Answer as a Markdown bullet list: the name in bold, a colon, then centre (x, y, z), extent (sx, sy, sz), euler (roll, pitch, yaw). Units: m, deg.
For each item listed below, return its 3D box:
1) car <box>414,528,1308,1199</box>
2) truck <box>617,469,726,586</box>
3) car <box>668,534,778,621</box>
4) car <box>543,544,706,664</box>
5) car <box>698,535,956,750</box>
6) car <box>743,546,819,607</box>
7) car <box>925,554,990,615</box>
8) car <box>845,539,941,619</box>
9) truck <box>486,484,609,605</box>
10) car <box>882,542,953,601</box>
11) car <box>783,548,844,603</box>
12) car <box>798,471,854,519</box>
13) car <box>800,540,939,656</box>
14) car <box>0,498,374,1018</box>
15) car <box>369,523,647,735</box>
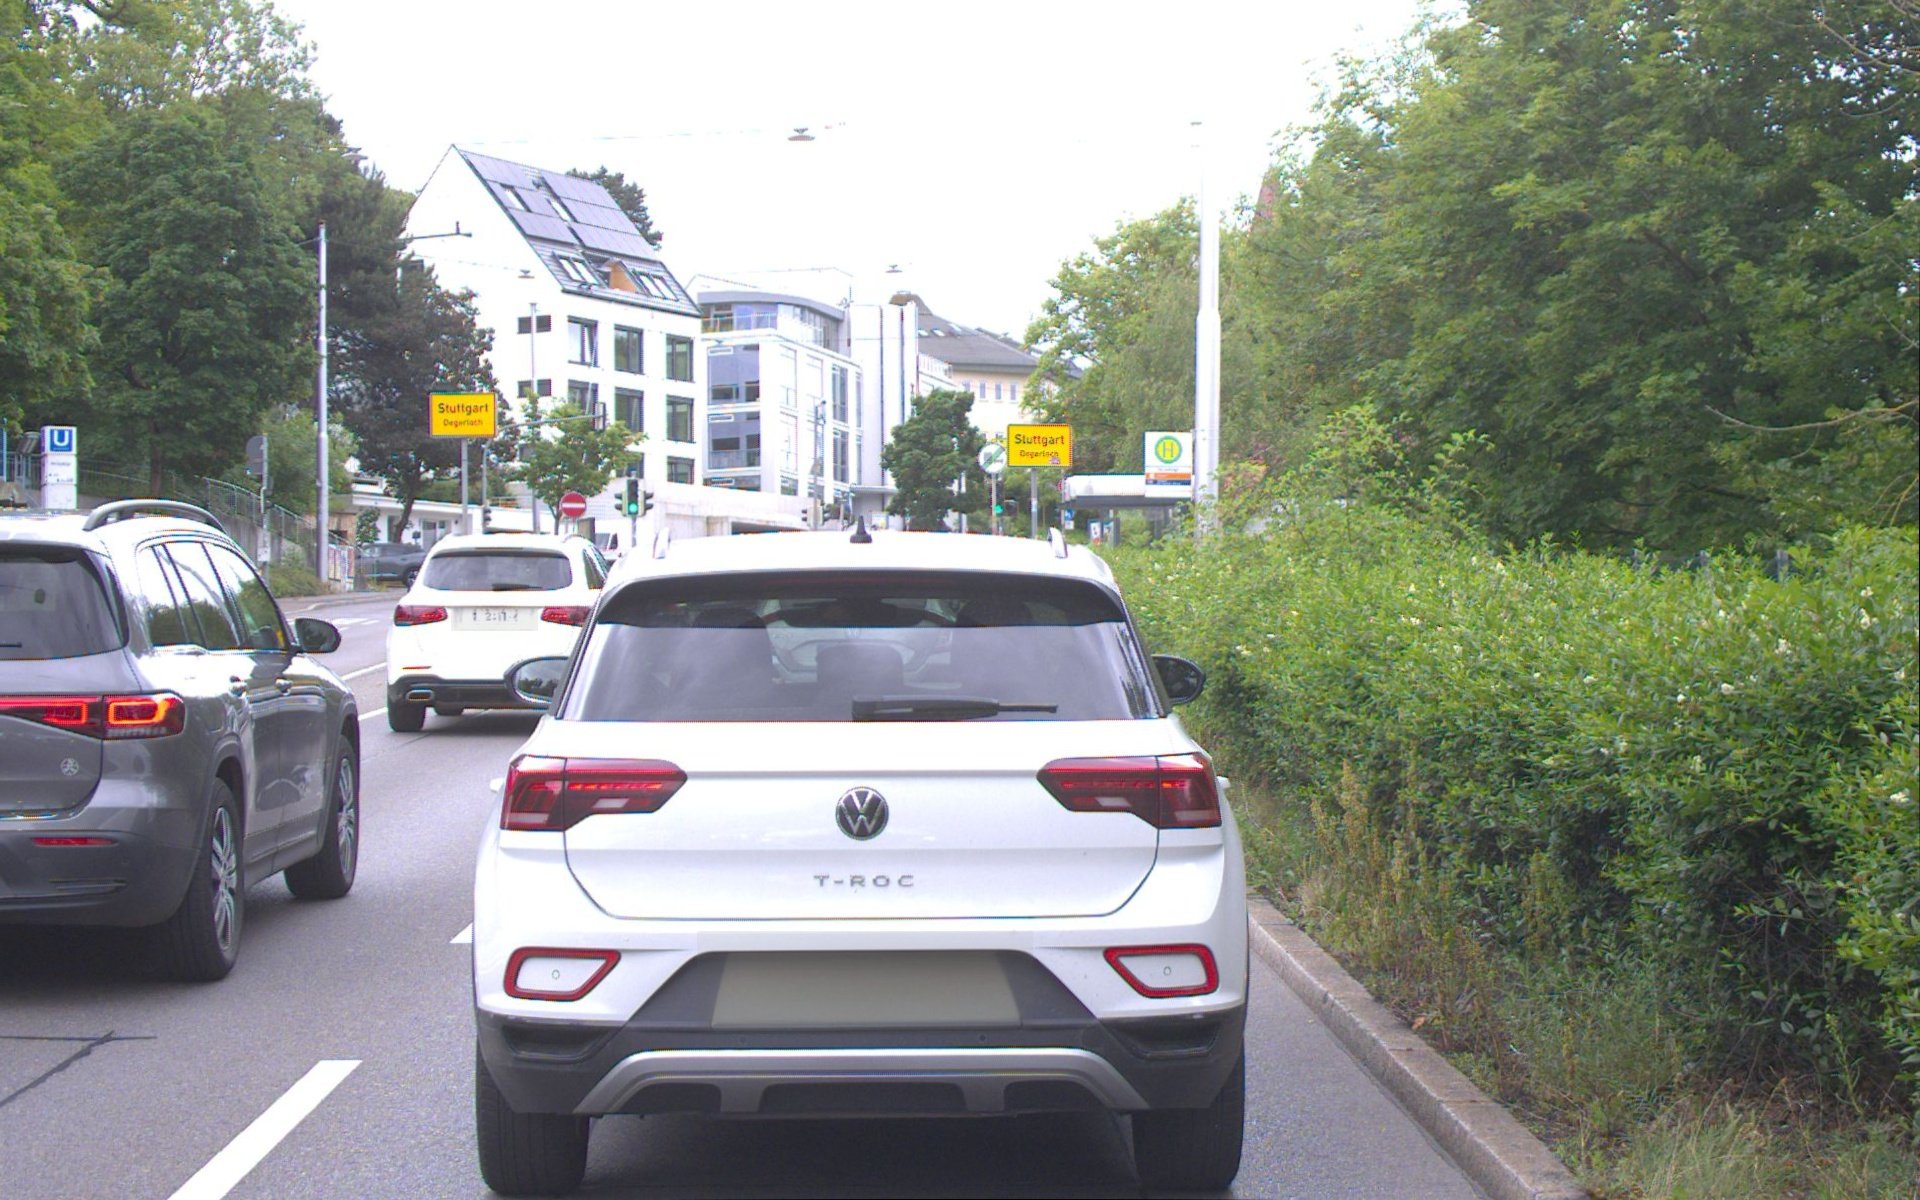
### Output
- **car**: centre (-0.250, 0.584, 9.067), extent (1.829, 1.520, 4.000), euler (0, 1, -1)
- **truck**: centre (-7.137, -1.800, 85.363), extent (2.362, 2.772, 4.478), euler (-2, 1, -1)
- **car**: centre (-4.349, -0.437, 63.527), extent (1.829, 1.520, 4.000), euler (-1, 1, -1)
- **car**: centre (-4.390, 0.016, 45.471), extent (1.829, 1.492, 4.000), euler (-1, 1, -1)
- **car**: centre (-1.007, 0.272, 26.748), extent (1.829, 1.520, 4.000), euler (-1, 1, -1)
- **car**: centre (-4.660, -0.633, 89.929), extent (1.829, 1.520, 4.000), euler (-1, 1, -1)
- **car**: centre (-0.108, -0.534, 116.239), extent (1.993, 1.963, 4.001), euler (-1, 1, -2)
- **car**: centre (-1.347, -0.436, 68.299), extent (1.829, 1.520, 4.000), euler (-1, 1, -1)
- **truck**: centre (-9.652, -1.319, 80.768), extent (2.362, 2.697, 4.478), euler (-2, 1, -1)
- **car**: centre (-1.165, -0.772, 92.094), extent (1.829, 1.520, 4.000), euler (-1, 1, -1)
- **car**: centre (-4.625, -0.790, 109.194), extent (1.815, 1.651, 3.929), euler (-2, 1, -1)
- **car**: centre (-4.535, -3.546, 116.600), extent (1.829, 1.520, 4.000), euler (-1, 1, -1)
- **car**: centre (-1.262, -0.058, 47.966), extent (1.829, 1.520, 4.000), euler (-1, 1, -1)
- **car**: centre (-3.437, 0.464, 13.024), extent (1.849, 1.645, 4.358), euler (0, 1, -2)
- **car**: centre (-3.754, 0.198, 29.187), extent (1.918, 1.664, 4.000), euler (0, 1, -1)
